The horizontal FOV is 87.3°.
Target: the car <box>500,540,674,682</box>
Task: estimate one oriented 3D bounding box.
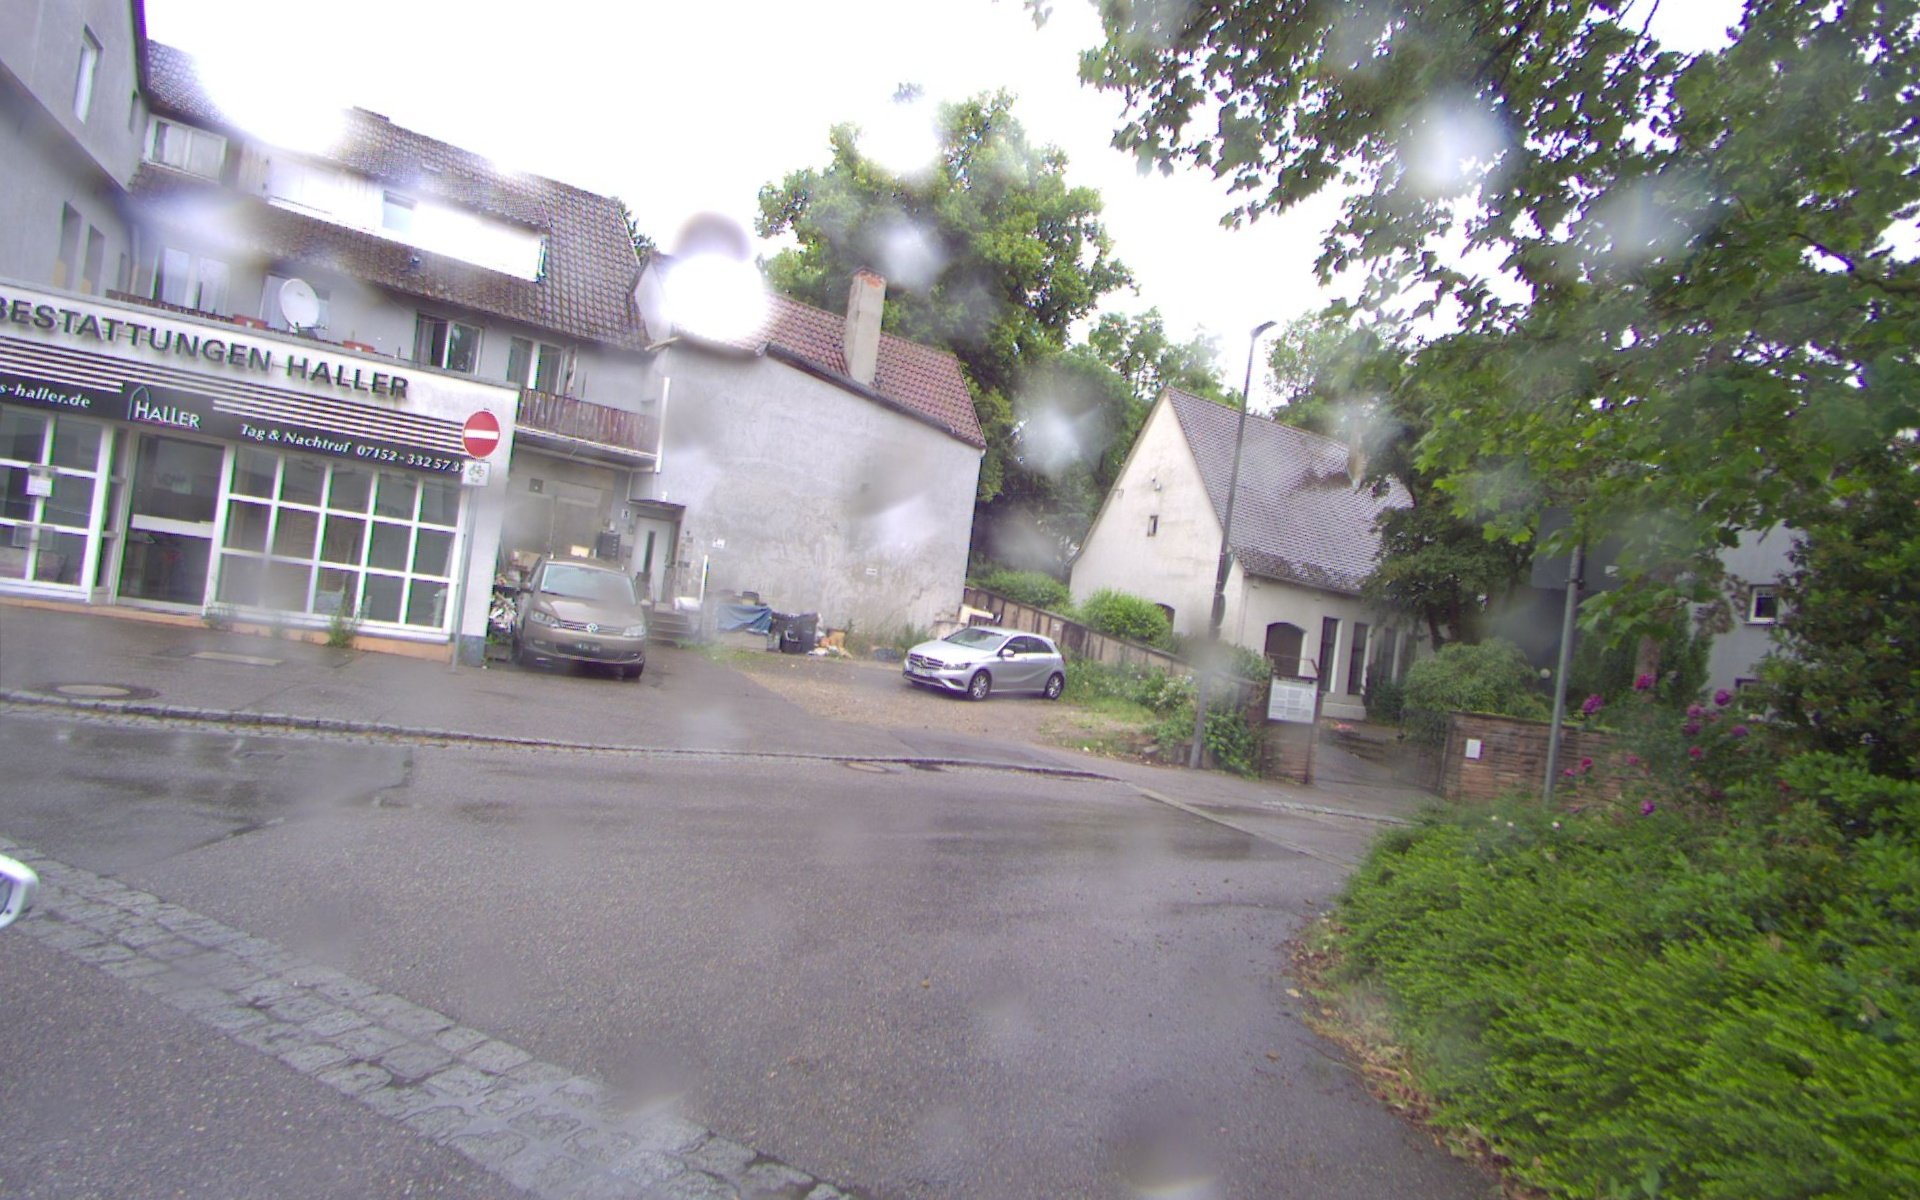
[{"bbox_3d":[-6.271,0.073,16.545,1.908,1.749,4.633,8,0,-28],"label":"car"}]

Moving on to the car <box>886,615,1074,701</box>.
[{"bbox_3d":[0.511,1.276,21.377,1.717,1.406,4.022,10,2,40],"label":"car"}]
